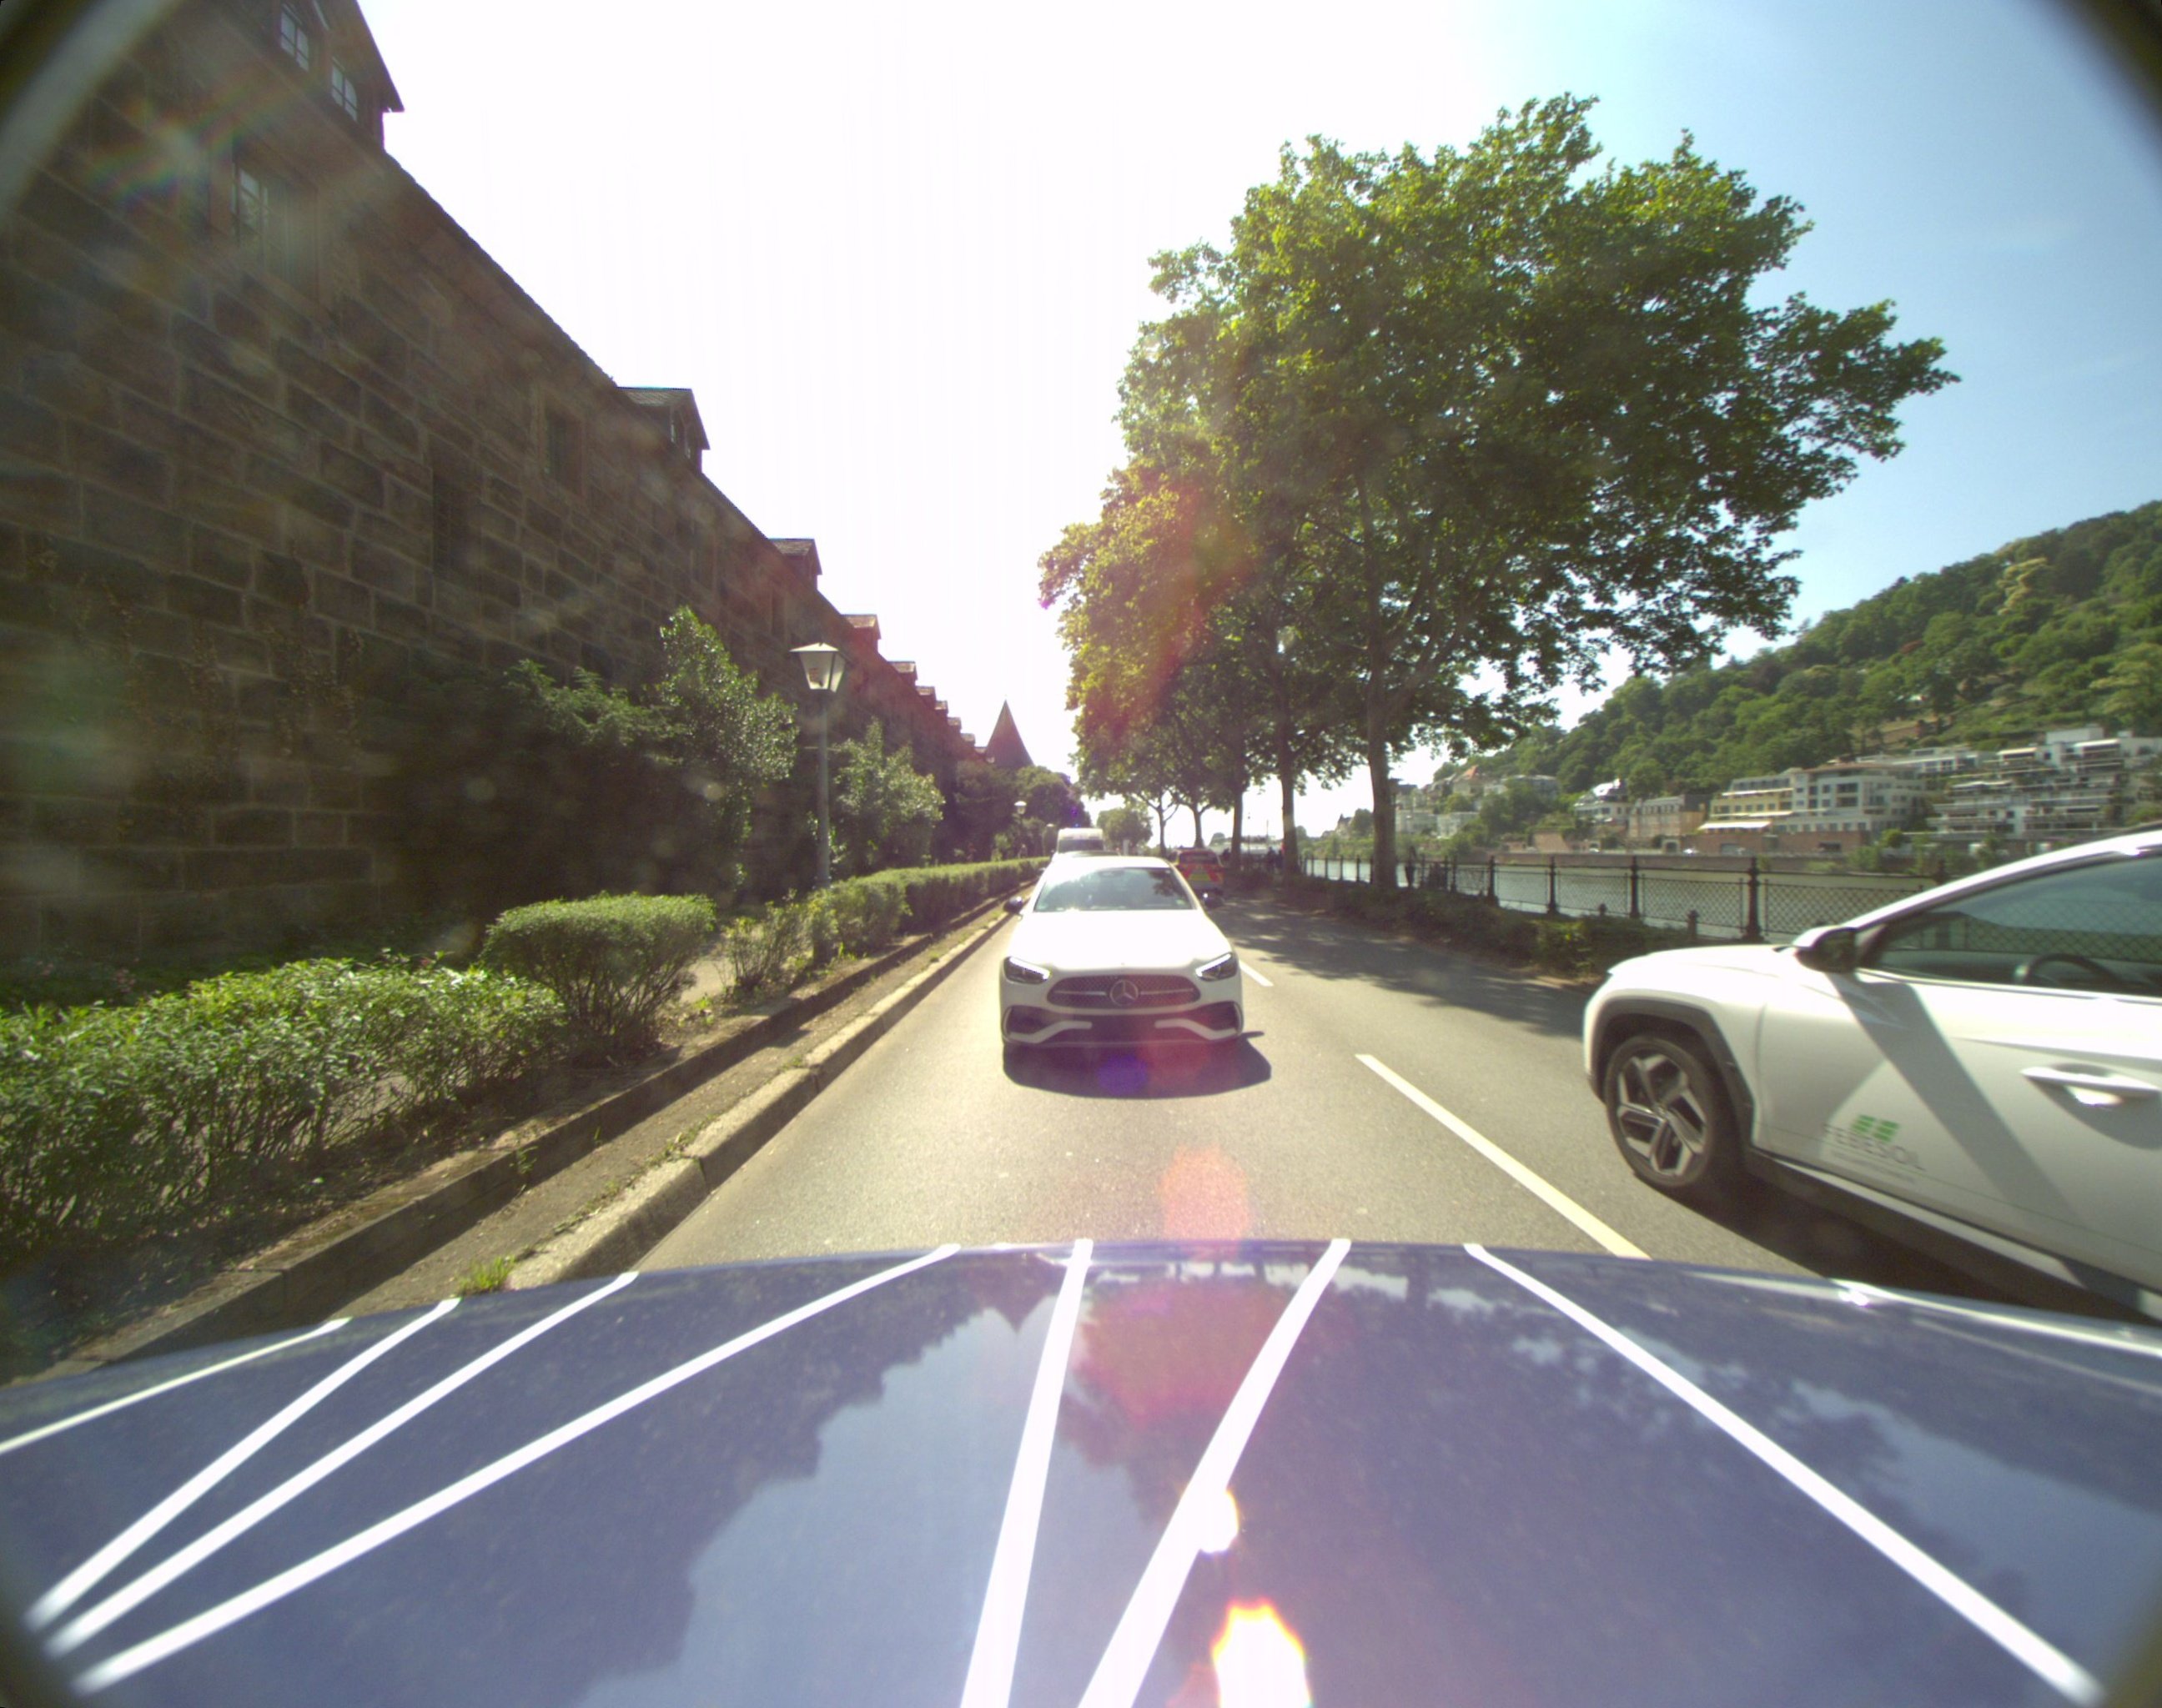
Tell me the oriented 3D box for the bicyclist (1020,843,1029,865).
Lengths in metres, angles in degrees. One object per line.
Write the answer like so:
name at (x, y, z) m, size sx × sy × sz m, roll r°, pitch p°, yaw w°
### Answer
bicyclist at (-4.086, 0.005, 54.934) m, size 0.550 × 1.514 × 0.583 m, roll -2°, pitch 2°, yaw -1°

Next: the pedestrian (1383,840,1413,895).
pedestrian at (11.034, 0.451, 26.461) m, size 0.767 × 1.890 × 0.771 m, roll 1°, pitch 1°, yaw 8°

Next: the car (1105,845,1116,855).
car at (6.447, -0.890, 165.689) m, size 2.165 × 2.002 × 3.999 m, roll -2°, pitch 1°, yaw 1°

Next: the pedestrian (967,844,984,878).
pedestrian at (-4.854, 0.313, 35.113) m, size 0.643 × 1.555 × 0.563 m, roll -2°, pitch 2°, yaw 1°

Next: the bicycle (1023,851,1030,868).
bicycle at (-3.951, 0.396, 54.871) m, size 0.406 × 1.169 × 1.576 m, roll -2°, pitch 1°, yaw -2°

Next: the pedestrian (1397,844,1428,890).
pedestrian at (12.810, 0.499, 29.383) m, size 0.777 × 1.748 × 0.830 m, roll 1°, pitch 1°, yaw 0°

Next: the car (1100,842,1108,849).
car at (6.926, -2.699, 230.660) m, size 2.165 × 2.002 × 3.999 m, roll -2°, pitch 1°, yaw 1°

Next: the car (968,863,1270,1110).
car at (0.264, 0.853, 6.864) m, size 1.833 × 1.395 × 4.270 m, roll -2°, pitch 1°, yaw 1°

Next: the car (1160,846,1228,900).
car at (3.790, 0.574, 26.130) m, size 1.677 × 1.650 × 4.222 m, roll 2°, pitch 1°, yaw 0°

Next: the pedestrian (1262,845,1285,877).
pedestrian at (12.163, 0.430, 48.005) m, size 1.047 × 2.002 × 1.036 m, roll -1°, pitch 2°, yaw 31°

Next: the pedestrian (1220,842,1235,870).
pedestrian at (9.675, 0.134, 50.261) m, size 0.806 × 1.839 × 0.929 m, roll -2°, pitch 2°, yaw 1°

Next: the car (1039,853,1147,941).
car at (0.238, 0.748, 15.317) m, size 1.833 × 1.428 × 4.270 m, roll -2°, pitch 1°, yaw 1°

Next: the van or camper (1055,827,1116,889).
van or camper at (0.176, 0.139, 31.806) m, size 2.313 × 2.358 × 5.034 m, roll 1°, pitch 1°, yaw 0°

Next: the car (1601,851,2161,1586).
car at (3.356, 0.858, 1.568) m, size 1.773 × 1.650 × 3.999 m, roll 2°, pitch 1°, yaw 0°

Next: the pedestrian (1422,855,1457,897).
pedestrian at (12.040, 0.717, 25.541) m, size 0.768 × 1.379 × 0.770 m, roll 1°, pitch 1°, yaw 0°

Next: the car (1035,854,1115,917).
car at (-0.120, 0.742, 19.995) m, size 1.833 × 1.395 × 4.423 m, roll -2°, pitch 1°, yaw 1°
